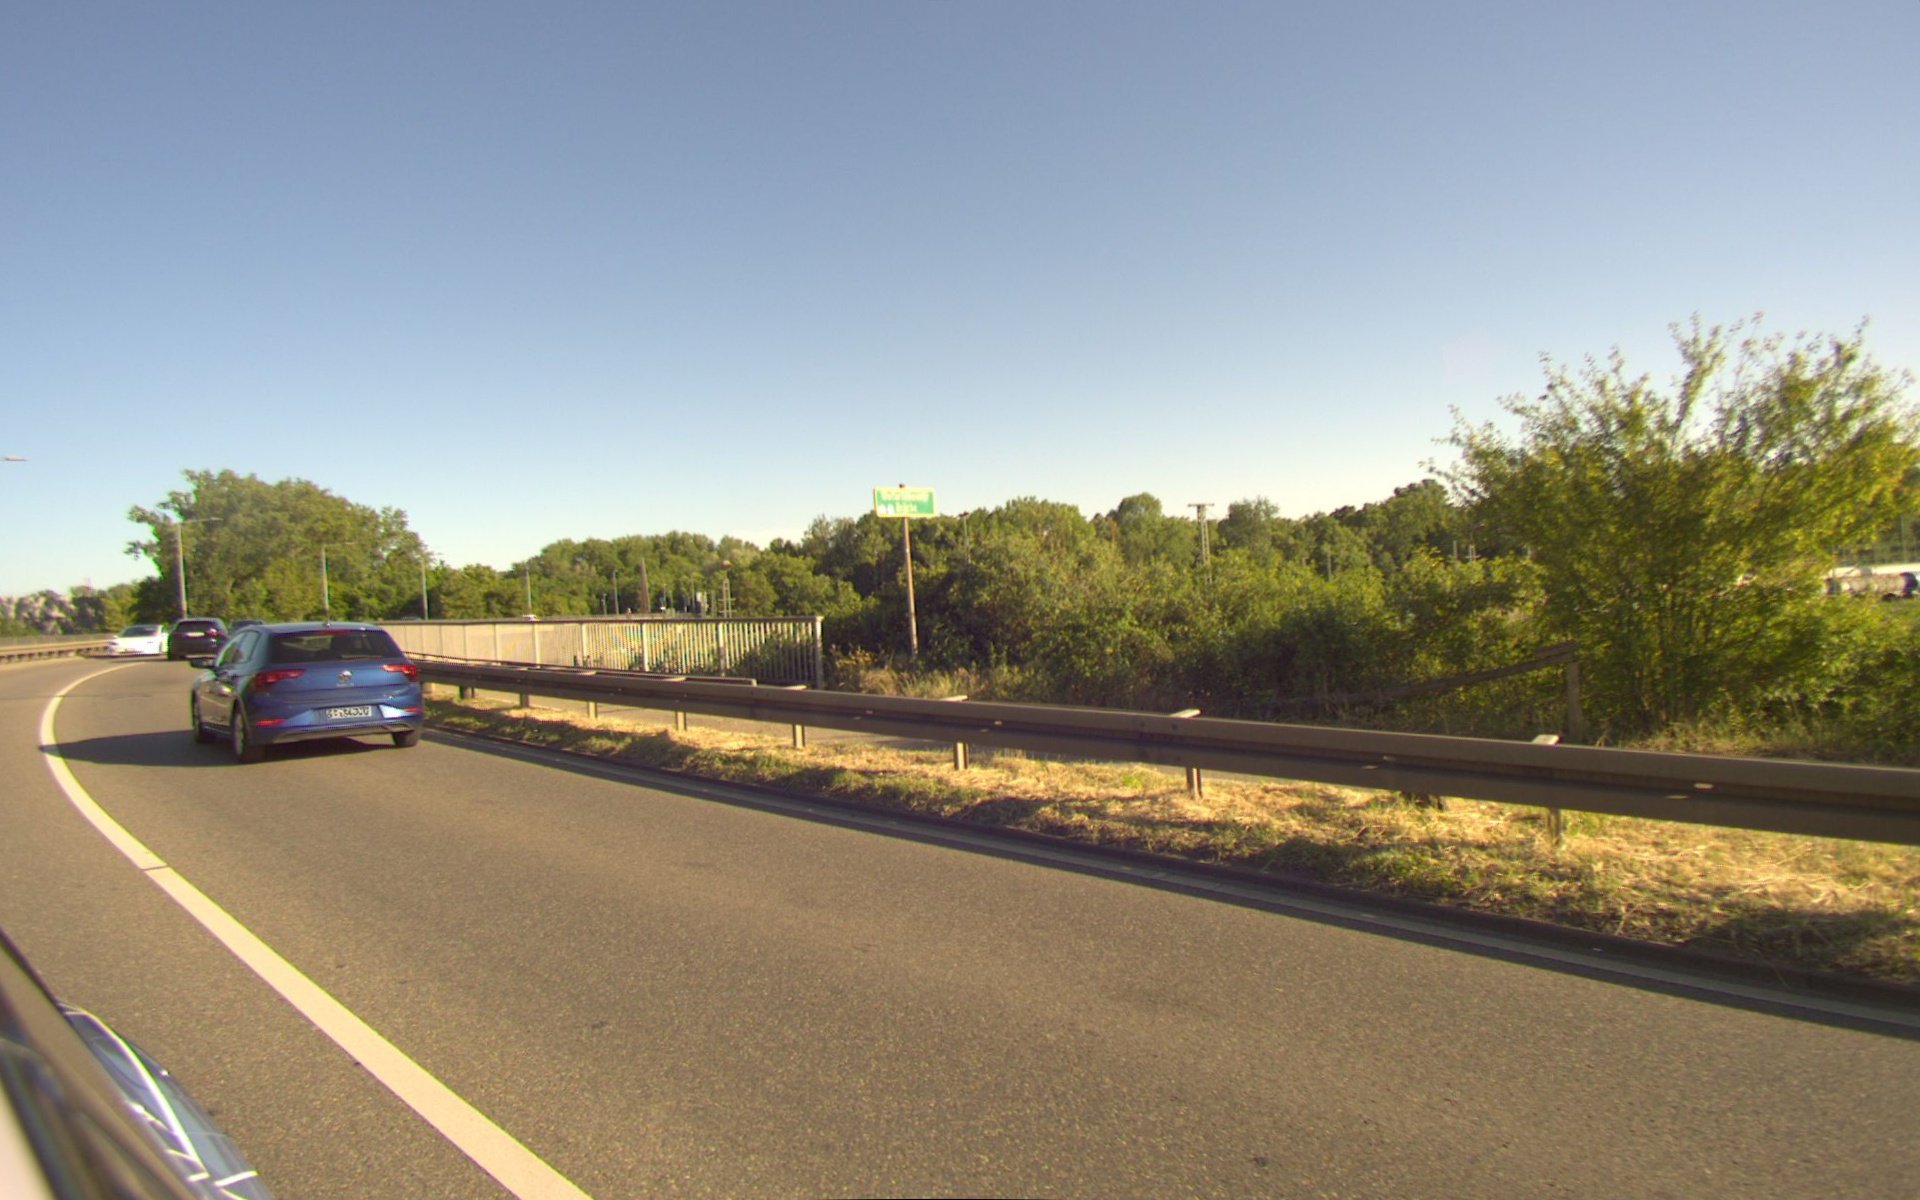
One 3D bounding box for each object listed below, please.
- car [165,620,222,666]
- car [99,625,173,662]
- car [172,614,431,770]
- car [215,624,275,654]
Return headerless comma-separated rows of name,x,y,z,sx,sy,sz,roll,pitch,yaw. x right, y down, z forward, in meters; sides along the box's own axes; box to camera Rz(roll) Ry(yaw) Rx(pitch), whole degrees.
car,-30.299,1.645,40.090,1.656,1.668,3.868,-1,0,-36
car,-37.862,1.977,46.631,2.115,1.579,4.210,0,-1,-32
car,-7.722,0.922,11.709,4.001,1.462,1.660,-1,0,44
car,-45.340,2.454,64.241,1.657,1.717,3.612,-1,0,-9
